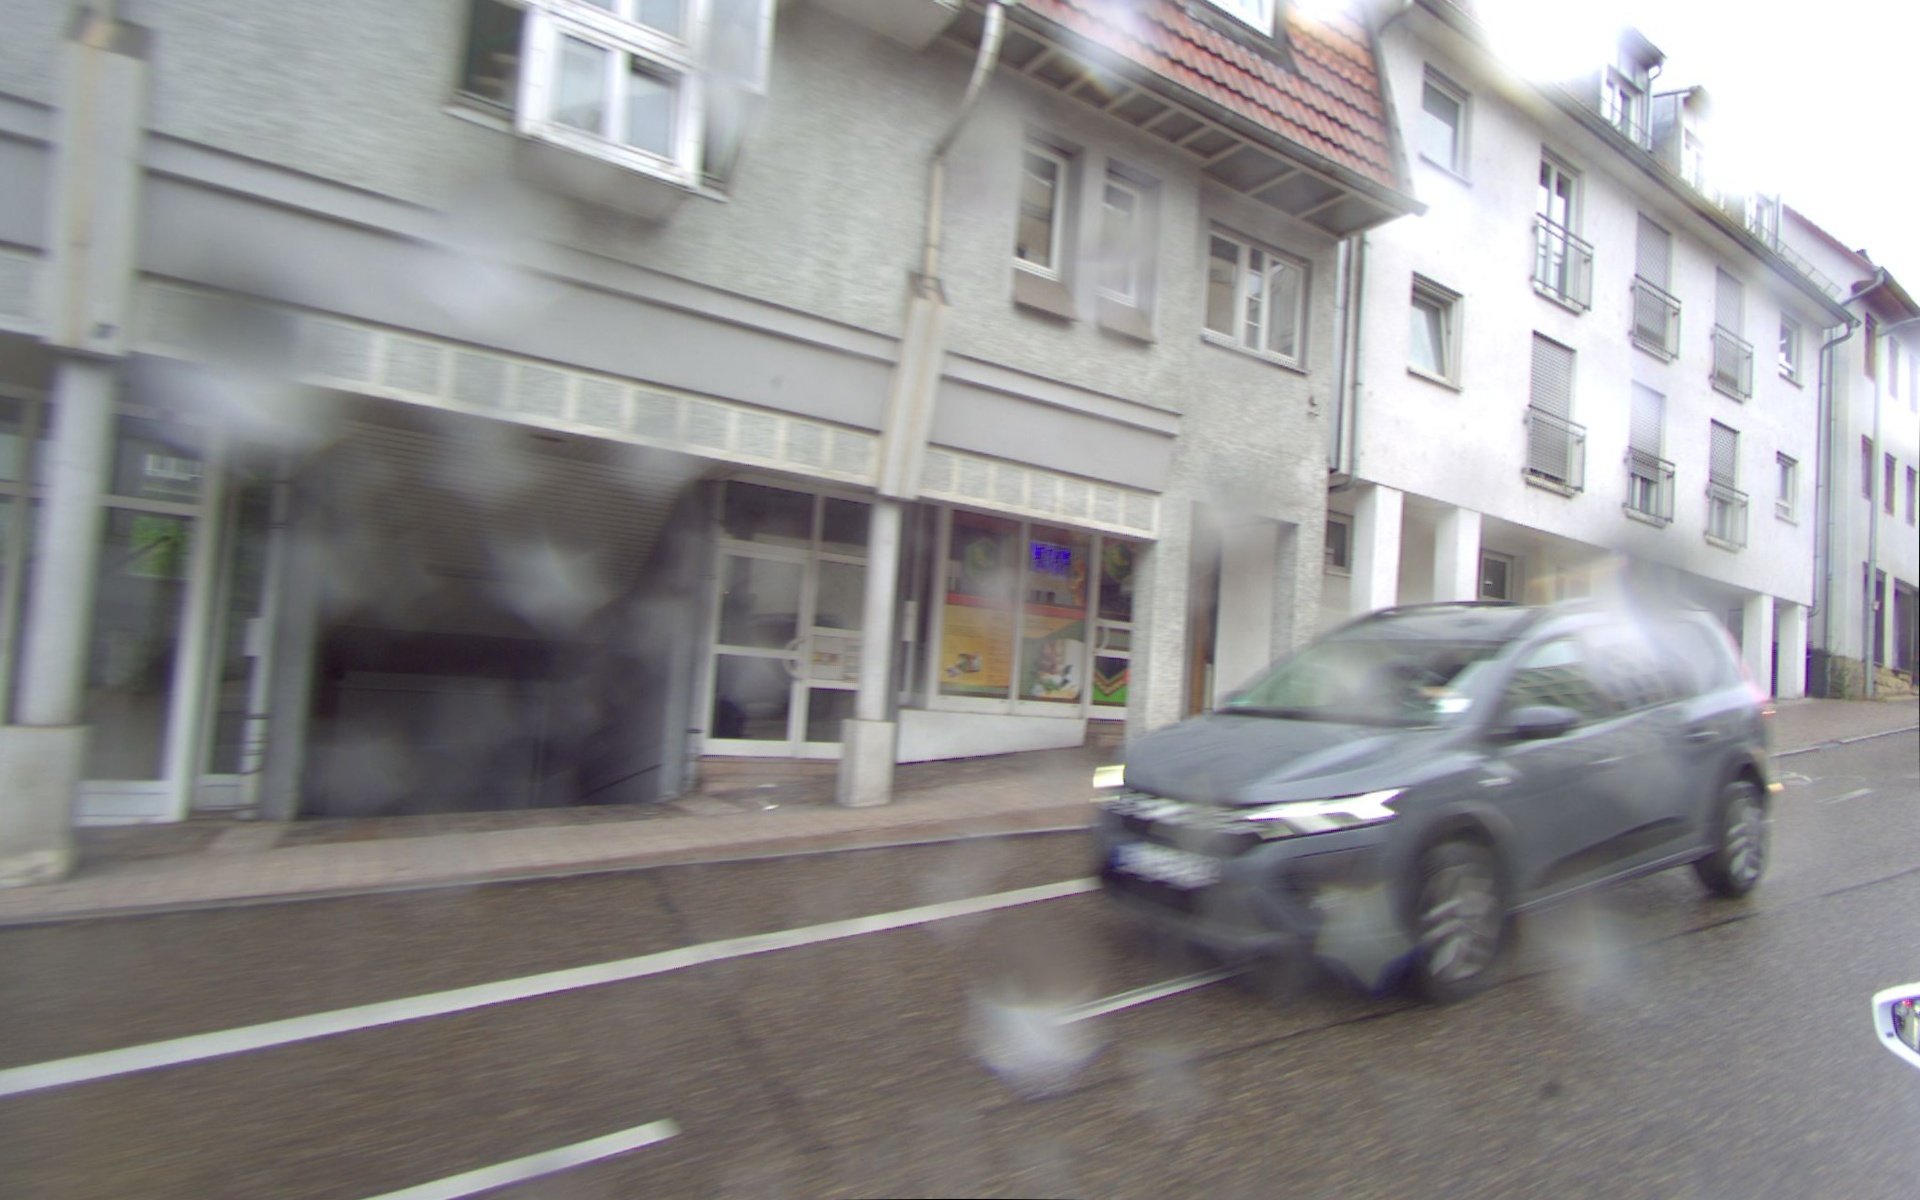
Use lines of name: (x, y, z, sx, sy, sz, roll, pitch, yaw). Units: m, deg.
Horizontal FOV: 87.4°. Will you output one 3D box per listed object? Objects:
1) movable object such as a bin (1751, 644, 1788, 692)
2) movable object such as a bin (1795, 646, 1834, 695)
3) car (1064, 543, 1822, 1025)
movable object such as a bin: (17.848, 1.493, 22.146, 0.579, 1.020, 0.505, 1, -1, -34)
movable object such as a bin: (18.315, 1.501, 21.538, 0.579, 1.020, 0.505, 1, -1, -34)
car: (2.849, 0.722, 5.550, 4.412, 1.716, 1.772, 2, -2, -33)
